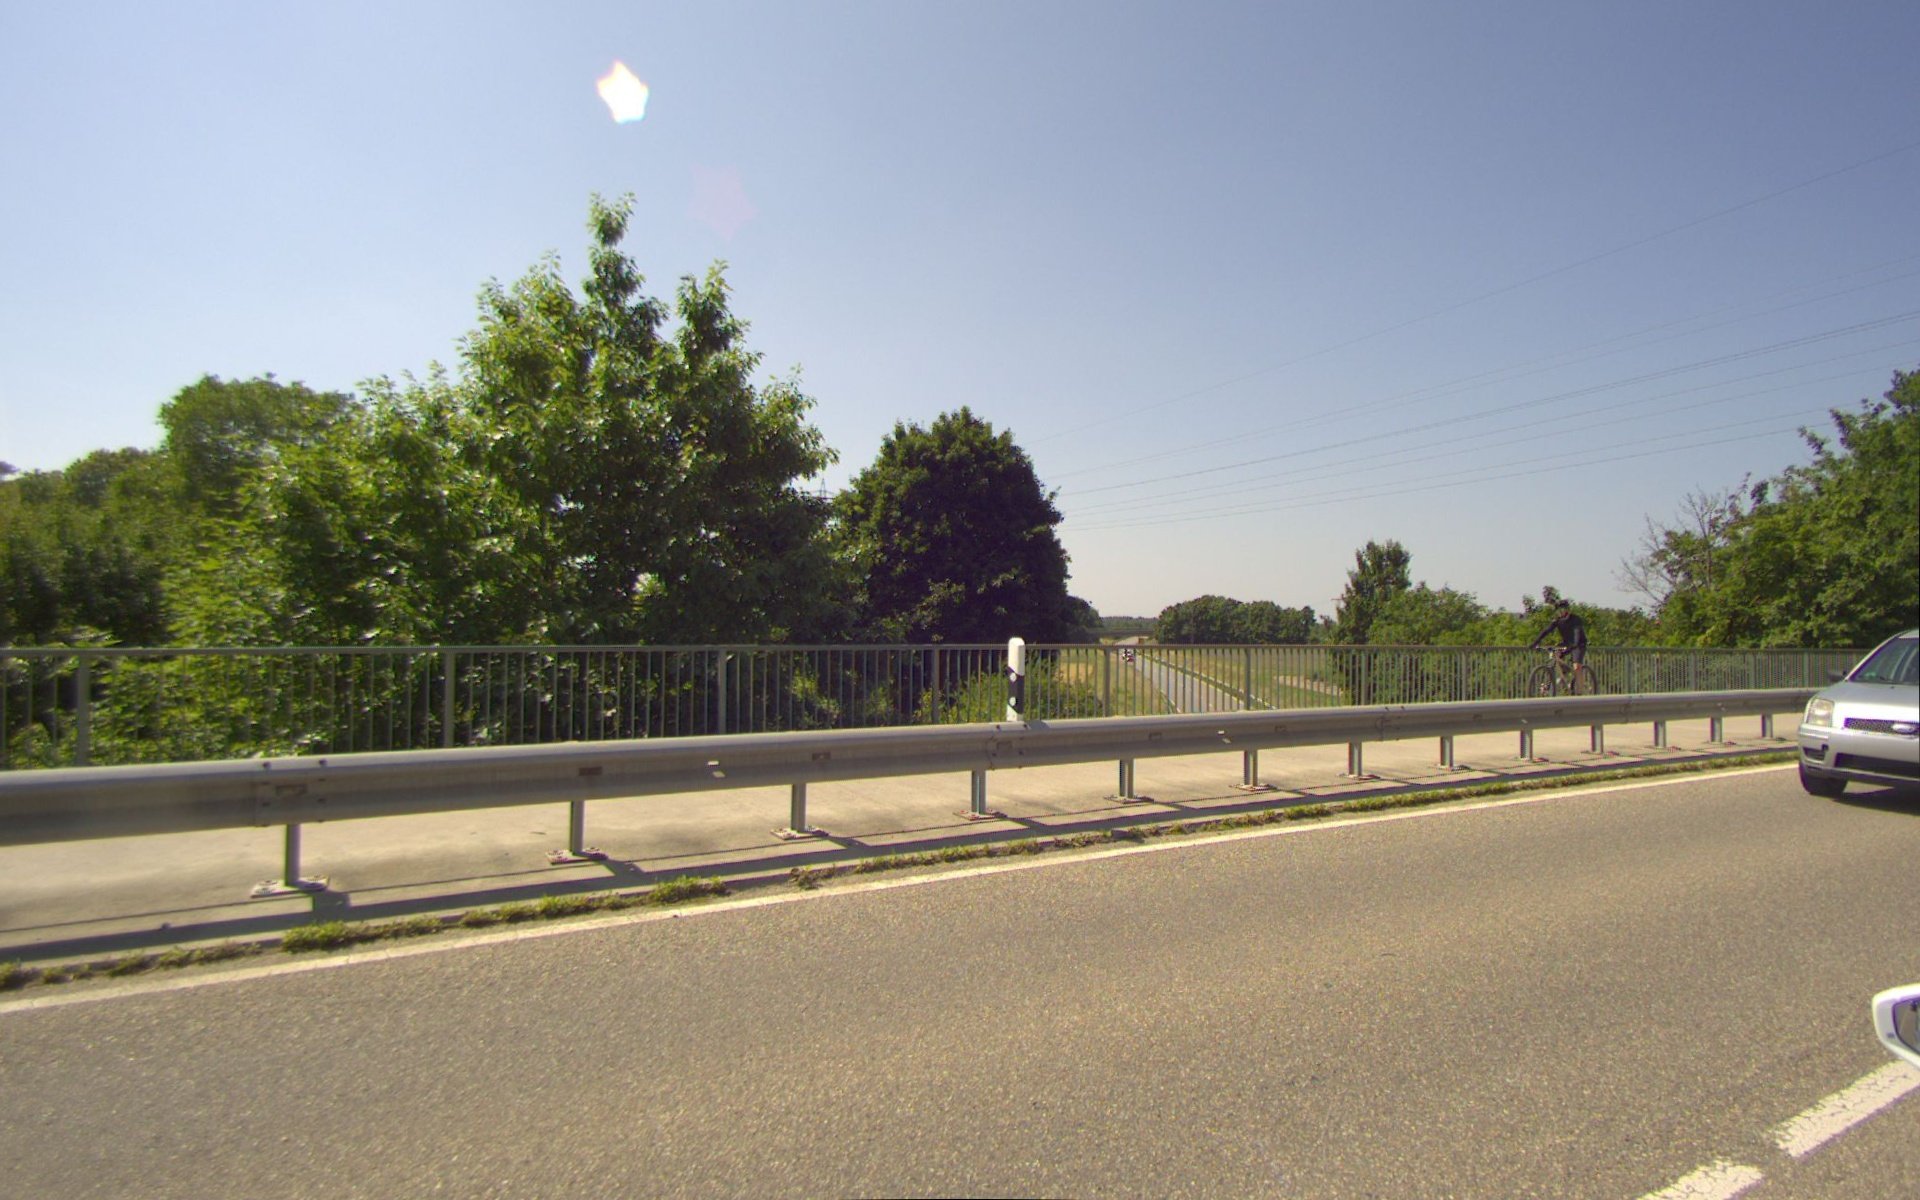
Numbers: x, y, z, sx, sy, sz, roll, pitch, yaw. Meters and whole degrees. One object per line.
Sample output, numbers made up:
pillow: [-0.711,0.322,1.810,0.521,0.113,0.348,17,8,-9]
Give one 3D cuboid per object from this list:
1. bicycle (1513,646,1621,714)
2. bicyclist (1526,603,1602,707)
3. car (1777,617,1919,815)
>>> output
bicycle: [10.007,1.290,16.532,2.095,1.015,0.673,1,-1,-33]
bicyclist: [9.928,0.879,16.523,0.885,1.655,0.761,1,-1,-32]
car: [9.099,0.983,8.922,3.622,1.537,1.660,2,-1,-30]
